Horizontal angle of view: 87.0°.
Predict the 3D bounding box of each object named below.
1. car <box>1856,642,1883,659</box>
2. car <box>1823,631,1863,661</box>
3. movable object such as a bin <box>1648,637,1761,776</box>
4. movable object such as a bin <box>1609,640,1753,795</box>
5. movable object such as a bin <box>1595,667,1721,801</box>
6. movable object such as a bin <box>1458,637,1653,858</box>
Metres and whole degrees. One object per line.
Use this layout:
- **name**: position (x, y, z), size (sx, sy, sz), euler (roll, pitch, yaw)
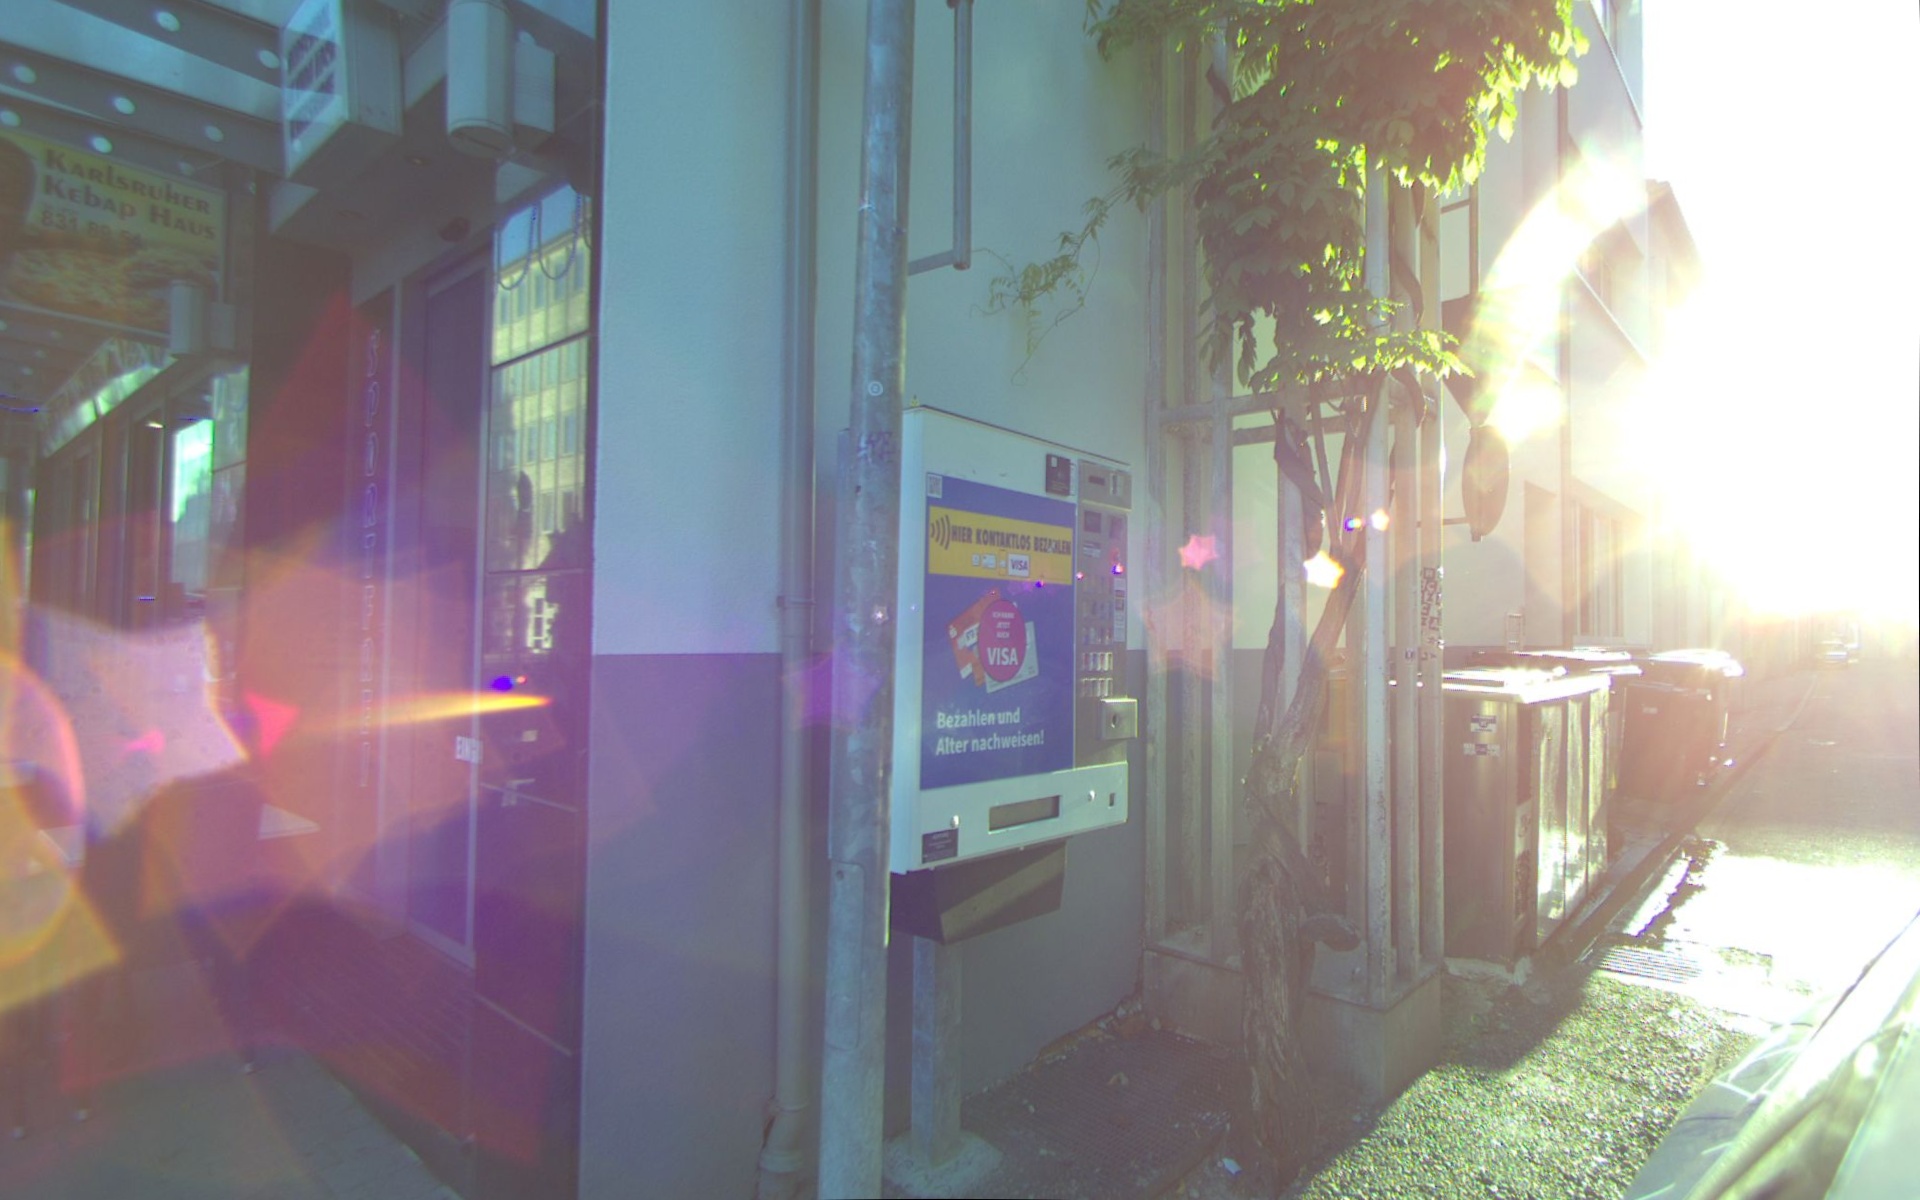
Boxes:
- **car**: position (100.061, 5.523, 111.396), size (1.991, 1.840, 3.940), euler (-4, -4, 41)
- **car**: position (55.818, 2.923, 64.009), size (1.757, 1.790, 4.678), euler (-4, -4, 41)
- **movable object such as a bin**: position (8.271, 1.132, 11.272), size (0.935, 1.384, 1.324), euler (2, -1, 36)
- **movable object such as a bin**: position (7.323, 1.124, 10.264), size (1.063, 1.384, 1.322), euler (2, -1, 41)
- **movable object such as a bin**: position (6.481, 1.204, 9.393), size (0.868, 1.088, 0.727), euler (2, -1, 41)
- **movable object such as a bin**: position (4.130, 0.941, 6.990), size (1.268, 1.321, 0.836), euler (3, -1, -44)
